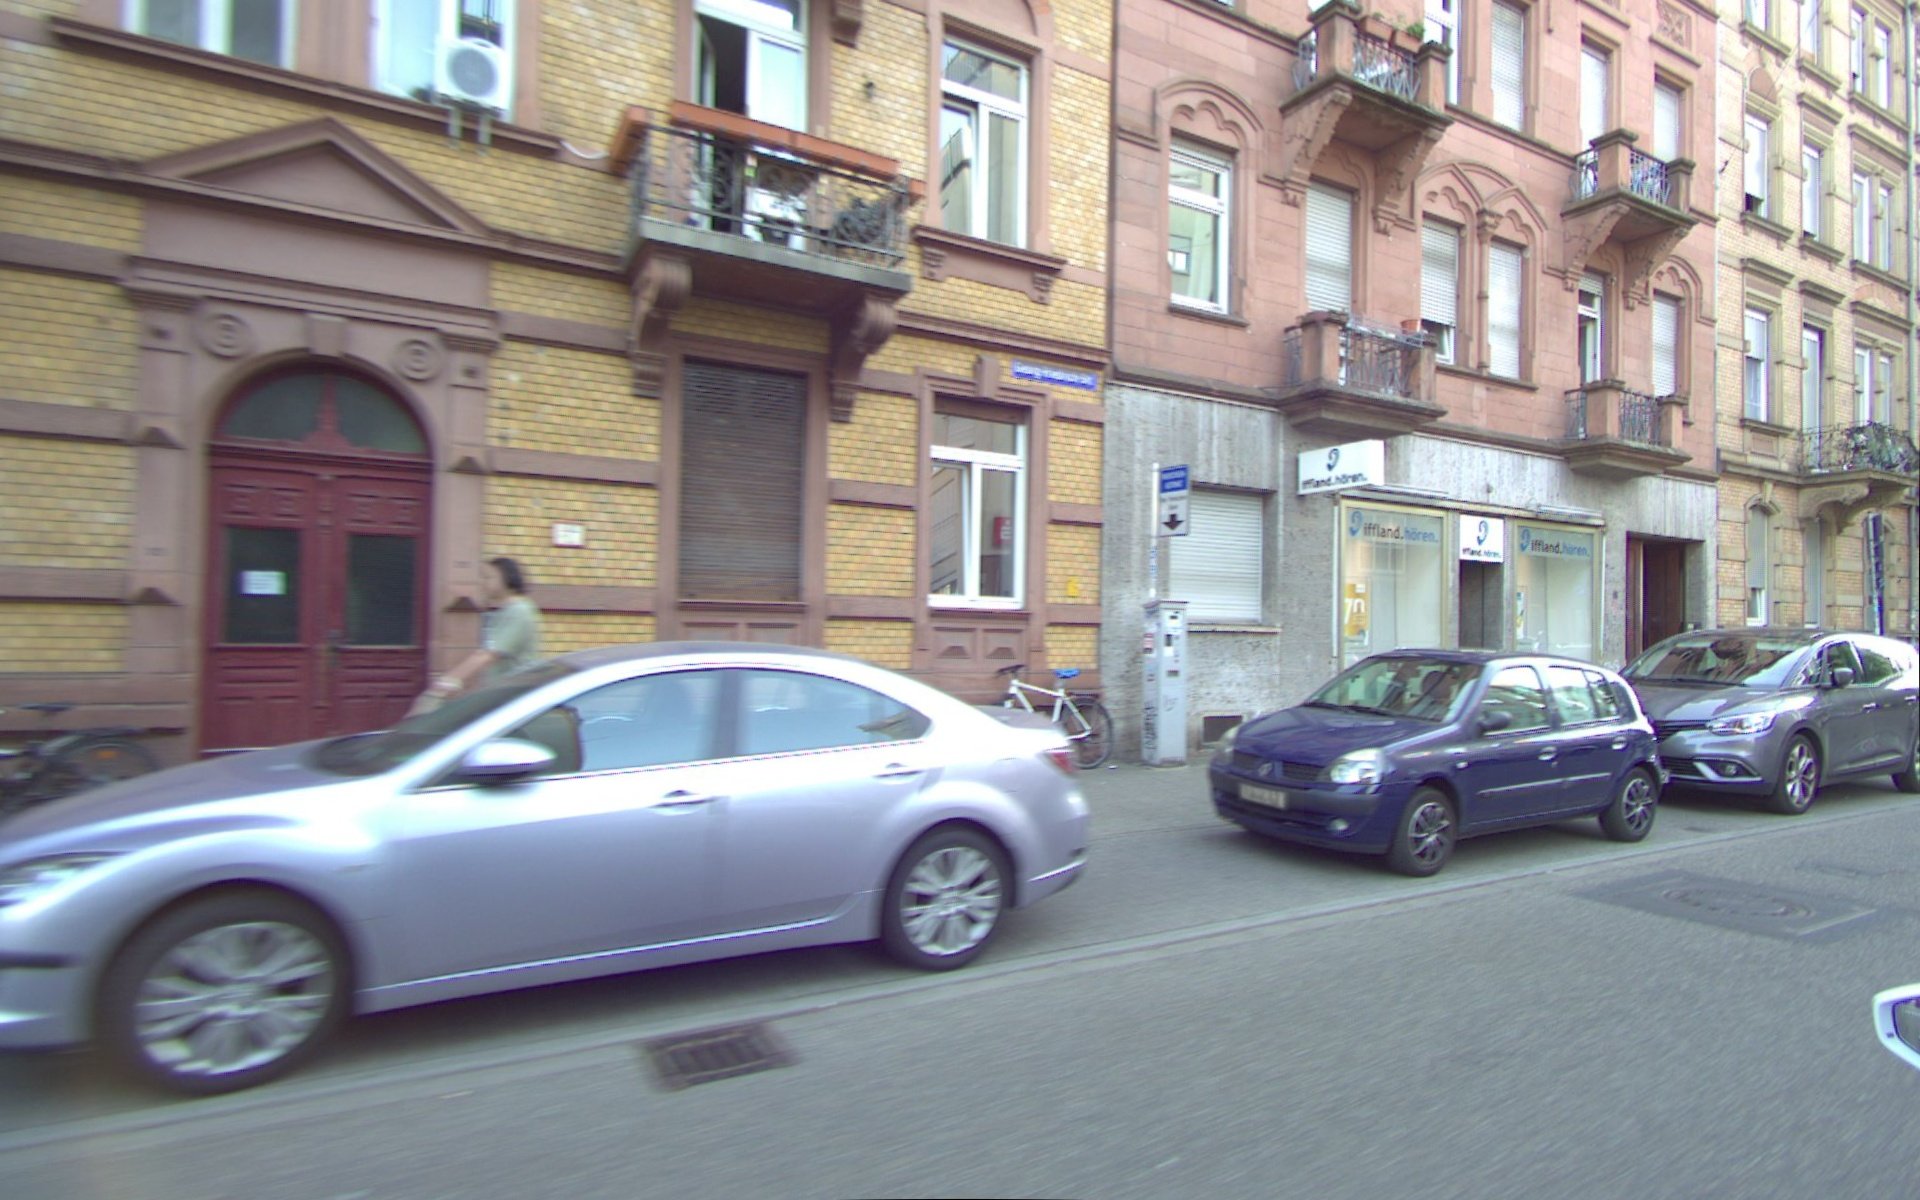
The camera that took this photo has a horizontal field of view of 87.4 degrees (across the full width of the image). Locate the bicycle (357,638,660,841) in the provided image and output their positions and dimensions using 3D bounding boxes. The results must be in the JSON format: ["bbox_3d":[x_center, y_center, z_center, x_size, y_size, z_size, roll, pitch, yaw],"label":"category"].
[{"bbox_3d":[-2.965,0.894,6.747,1.717,1.212,0.706,3,-2,-23],"label":"bicycle"}]

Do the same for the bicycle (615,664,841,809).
[{"bbox_3d":[-1.912,1.091,8.367,1.738,1.051,0.546,1,1,-29],"label":"bicycle"}]

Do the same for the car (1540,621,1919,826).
[{"bbox_3d":[8.070,1.078,10.148,4.391,1.655,1.845,1,-1,-29],"label":"car"}]

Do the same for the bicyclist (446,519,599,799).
[{"bbox_3d":[-2.925,0.389,6.776,0.831,1.752,0.706,3,-1,-23],"label":"bicyclist"}]

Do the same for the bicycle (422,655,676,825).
[{"bbox_3d":[-3.124,1.018,7.699,1.738,1.138,0.546,1,1,-29],"label":"bicycle"}]

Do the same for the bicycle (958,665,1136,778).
[{"bbox_3d":[0.904,1.197,10.185,1.825,1.036,0.447,2,2,-29],"label":"bicycle"}]

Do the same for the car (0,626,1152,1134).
[{"bbox_3d":[-1.430,0.909,4.697,4.526,1.439,1.715,2,-1,-29],"label":"car"}]

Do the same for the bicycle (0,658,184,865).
[{"bbox_3d":[-5.729,0.949,6.063,1.595,1.138,0.733,1,0,-35],"label":"bicycle"}]

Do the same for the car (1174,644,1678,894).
[{"bbox_3d":[3.556,1.076,7.571,3.650,1.439,1.579,1,-1,-28],"label":"car"}]

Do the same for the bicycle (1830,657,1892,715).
[{"bbox_3d":[17.321,1.633,19.300,1.609,1.041,0.588,2,-1,-37],"label":"bicycle"}]
